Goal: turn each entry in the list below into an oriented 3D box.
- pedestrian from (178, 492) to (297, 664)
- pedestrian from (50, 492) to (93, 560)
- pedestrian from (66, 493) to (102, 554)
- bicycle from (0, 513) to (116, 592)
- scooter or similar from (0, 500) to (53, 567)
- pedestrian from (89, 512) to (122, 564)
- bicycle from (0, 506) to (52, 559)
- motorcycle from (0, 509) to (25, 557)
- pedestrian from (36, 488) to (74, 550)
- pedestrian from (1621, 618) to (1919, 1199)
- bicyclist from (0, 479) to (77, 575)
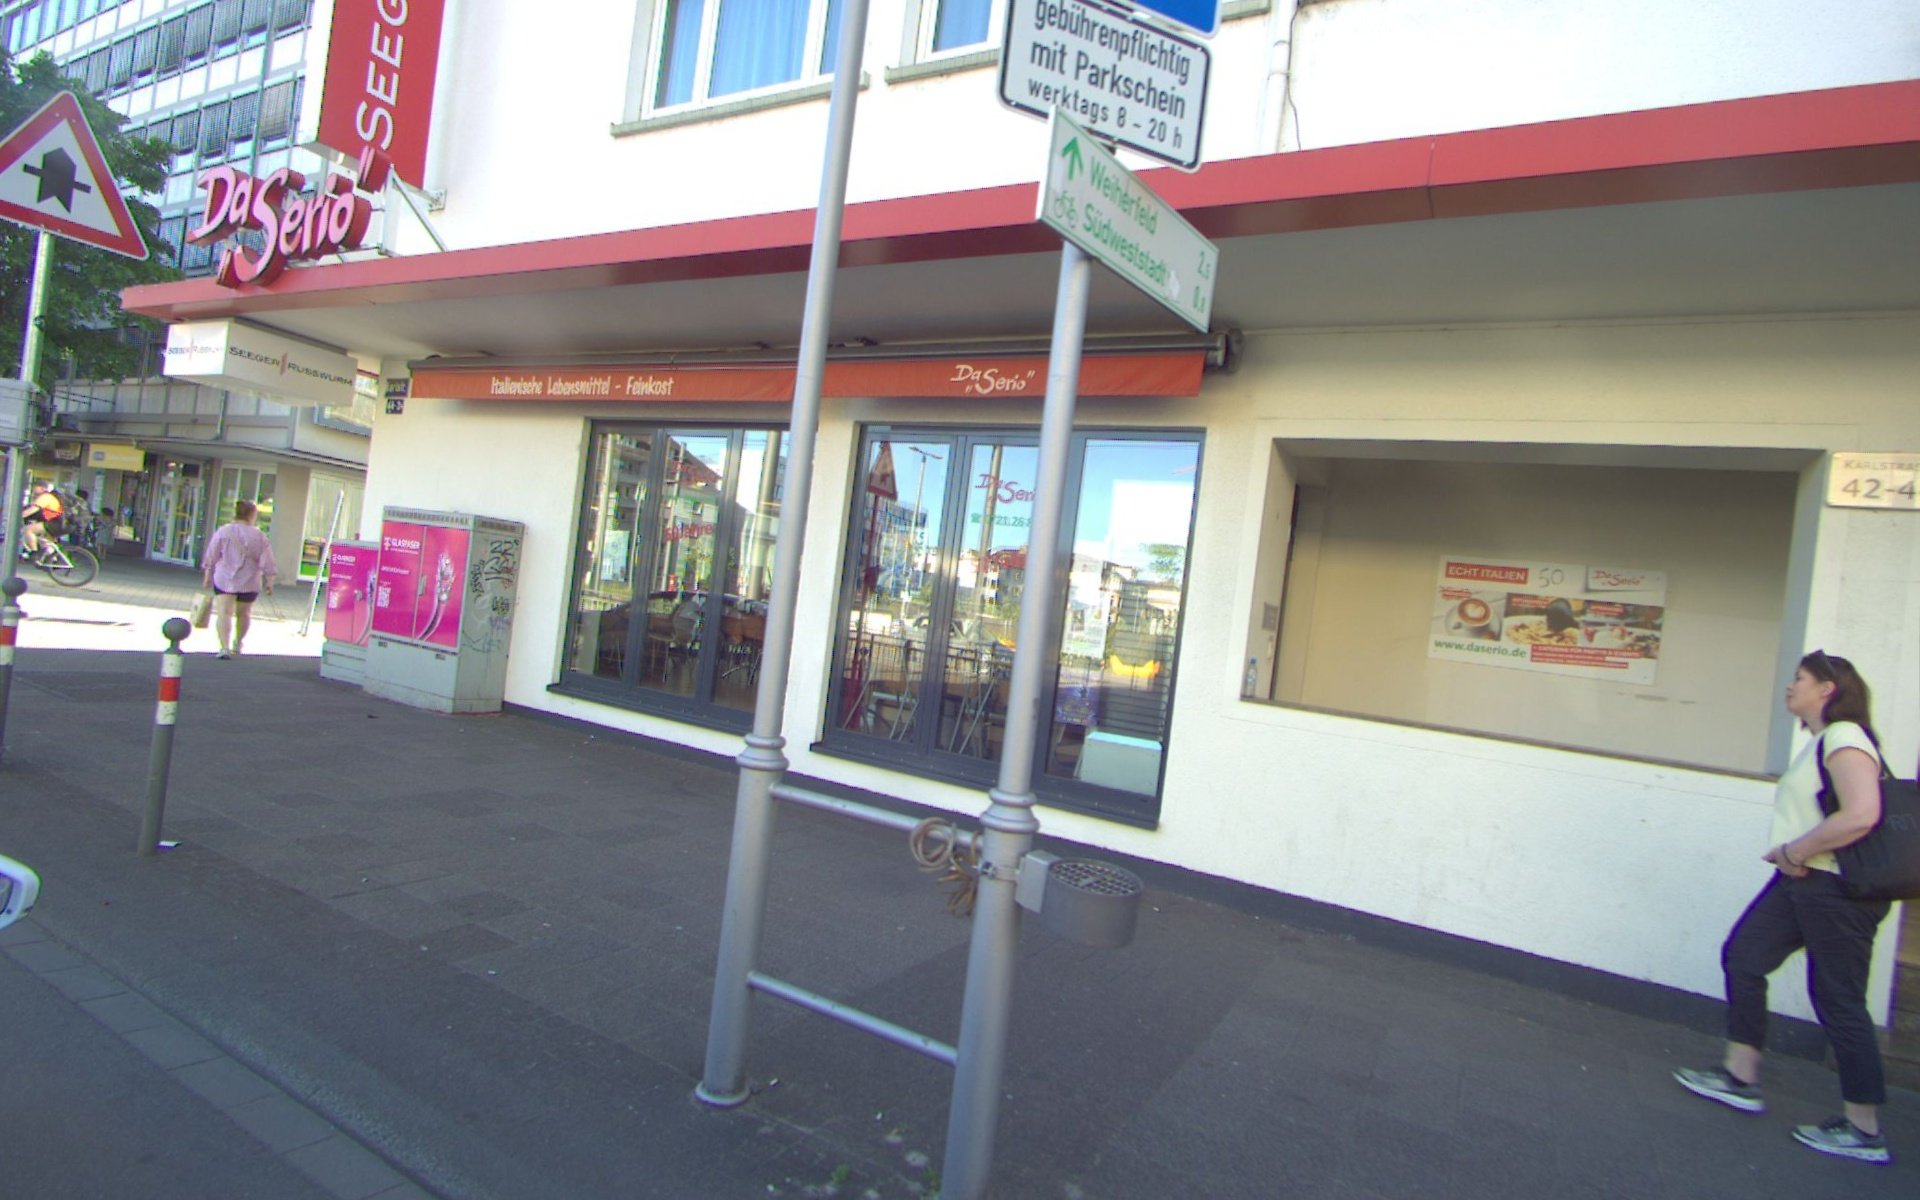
[{"bbox_3d":[-7.806,-0.226,10.885,0.813,1.701,0.707,10,-3,-37],"label":"pedestrian"},{"bbox_3d":[-23.014,-1.919,26.062,0.458,1.661,0.596,7,0,32],"label":"pedestrian"},{"bbox_3d":[-25.397,-2.217,29.163,0.584,1.661,0.531,7,0,32],"label":"pedestrian"},{"bbox_3d":[-15.776,-0.842,17.176,1.968,1.084,0.766,11,-4,-41],"label":"bicycle"},{"bbox_3d":[-20.902,-1.485,21.979,0.683,1.332,1.415,6,-1,5],"label":"scooter or similar"},{"bbox_3d":[-22.572,-1.645,26.576,0.522,1.296,0.420,7,0,32],"label":"pedestrian"},{"bbox_3d":[-22.756,-1.672,23.577,0.475,1.134,2.056,7,-2,31],"label":"bicycle"},{"bbox_3d":[-24.421,-1.793,24.669,0.586,1.140,1.997,7,-3,30],"label":"motorcycle"},{"bbox_3d":[-25.597,-2.283,28.460,0.596,1.661,0.531,7,0,32],"label":"pedestrian"},{"bbox_3d":[3.100,1.037,3.709,0.918,1.796,0.804,7,0,35],"label":"pedestrian"},{"bbox_3d":[-15.744,-1.224,17.114,0.905,1.454,0.621,10,-3,-42],"label":"bicyclist"}]
